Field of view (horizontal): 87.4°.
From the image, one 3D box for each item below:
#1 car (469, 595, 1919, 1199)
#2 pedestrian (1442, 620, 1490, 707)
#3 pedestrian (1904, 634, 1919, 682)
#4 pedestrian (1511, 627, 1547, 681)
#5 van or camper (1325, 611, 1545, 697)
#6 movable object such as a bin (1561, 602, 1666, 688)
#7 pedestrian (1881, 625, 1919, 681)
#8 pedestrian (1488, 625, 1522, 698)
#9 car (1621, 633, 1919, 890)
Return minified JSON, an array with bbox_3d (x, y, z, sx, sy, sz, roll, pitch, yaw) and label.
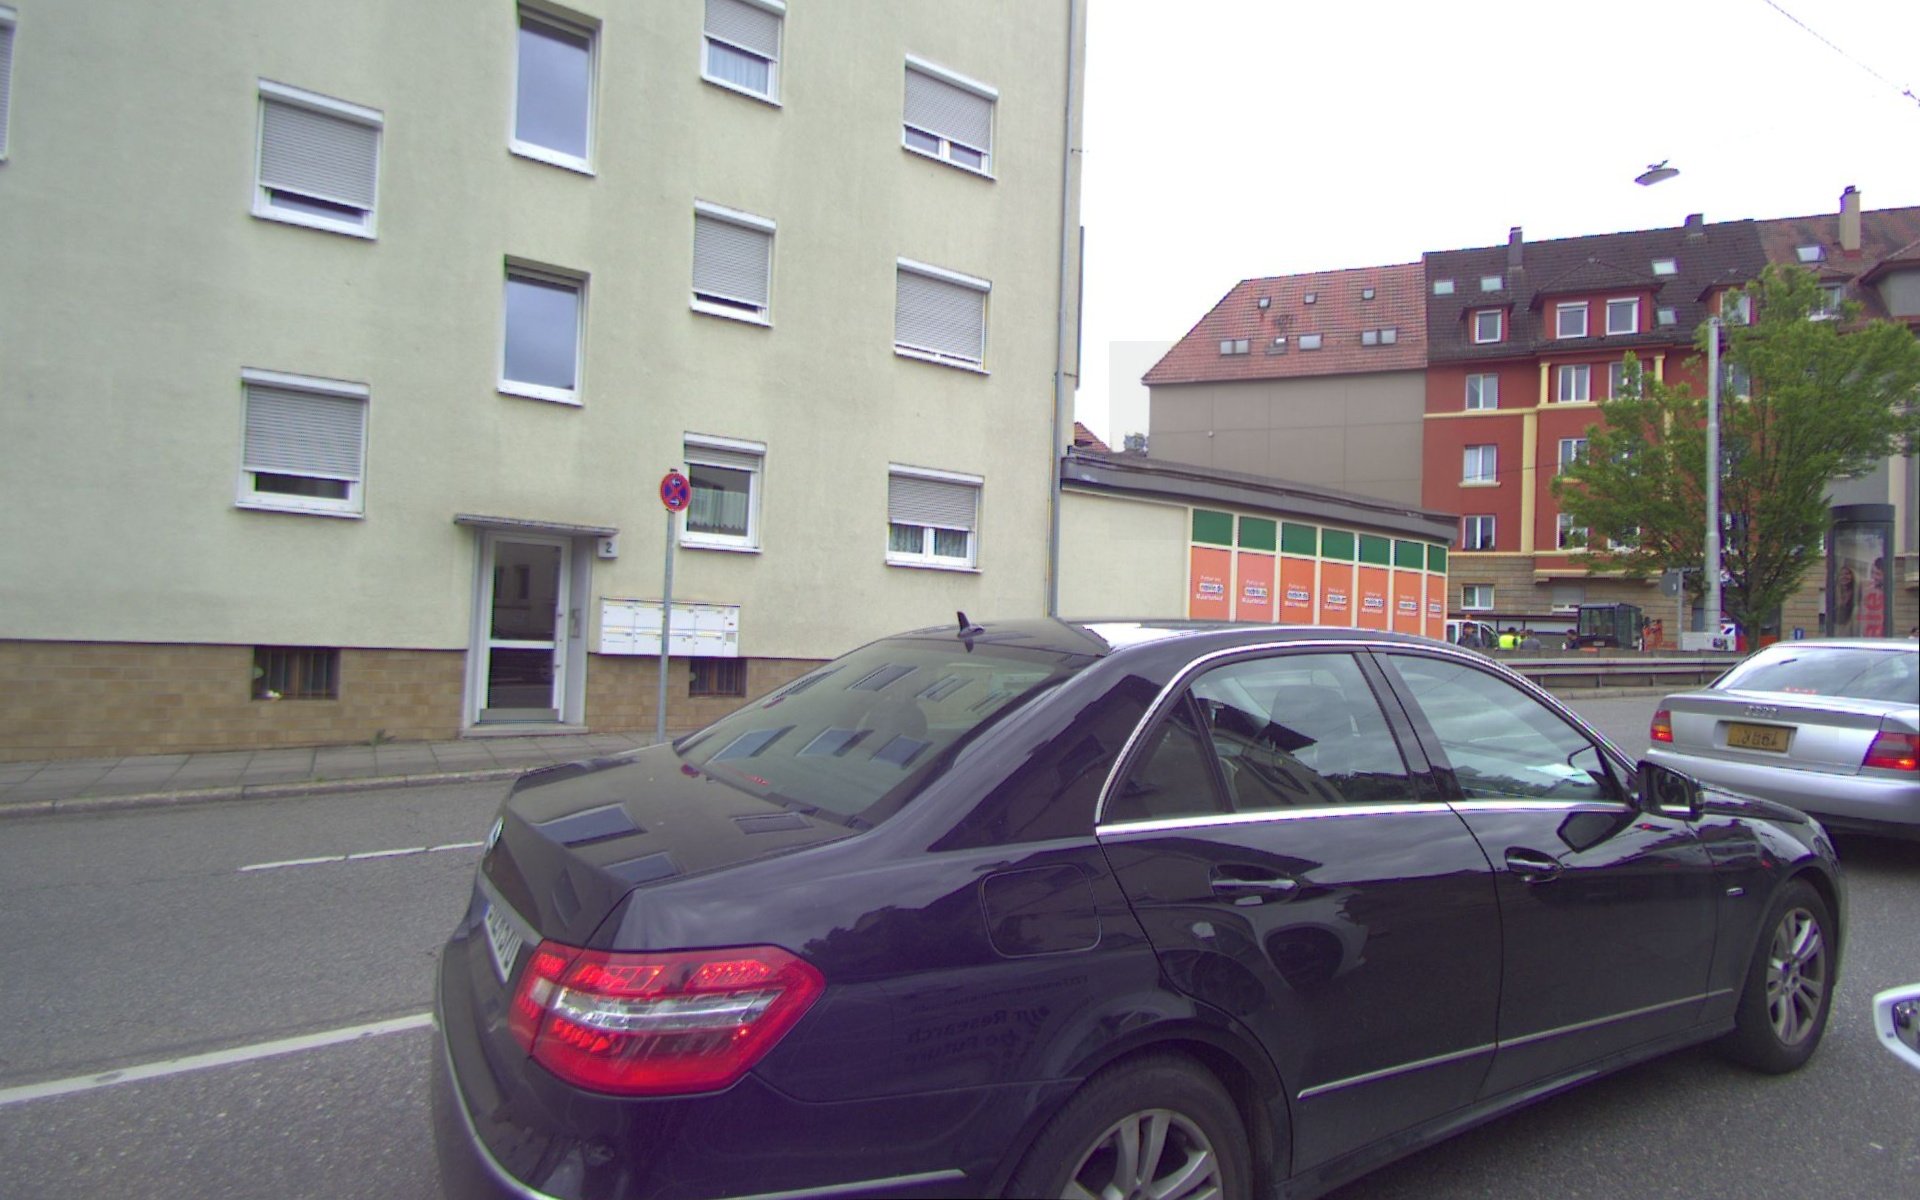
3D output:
[{"bbox_3d":[1.076,0.782,3.387,4.785,1.447,1.984,1,-2,-30],"label":"car"},{"bbox_3d":[9.868,1.224,19.591,0.680,1.658,0.775,-1,-2,40],"label":"pedestrian"},{"bbox_3d":[27.499,1.646,28.689,0.572,1.356,0.576,0,-1,13],"label":"pedestrian"},{"bbox_3d":[14.774,1.394,26.096,0.613,1.381,0.602,0,-1,4],"label":"pedestrian"},{"bbox_3d":[14.535,1.581,31.023,5.894,2.369,2.686,0,-1,26],"label":"van or camper"},{"bbox_3d":[16.554,1.116,25.386,3.510,2.040,1.363,2,-2,-42],"label":"movable object such as a bin"},{"bbox_3d":[26.785,1.487,28.425,0.724,1.567,0.794,0,-1,-3],"label":"pedestrian"},{"bbox_3d":[15.521,1.738,28.608,0.811,2.040,0.679,0,0,26],"label":"pedestrian"},{"bbox_3d":[6.708,0.932,7.060,4.073,1.383,1.623,1,-2,-26],"label":"car"}]
